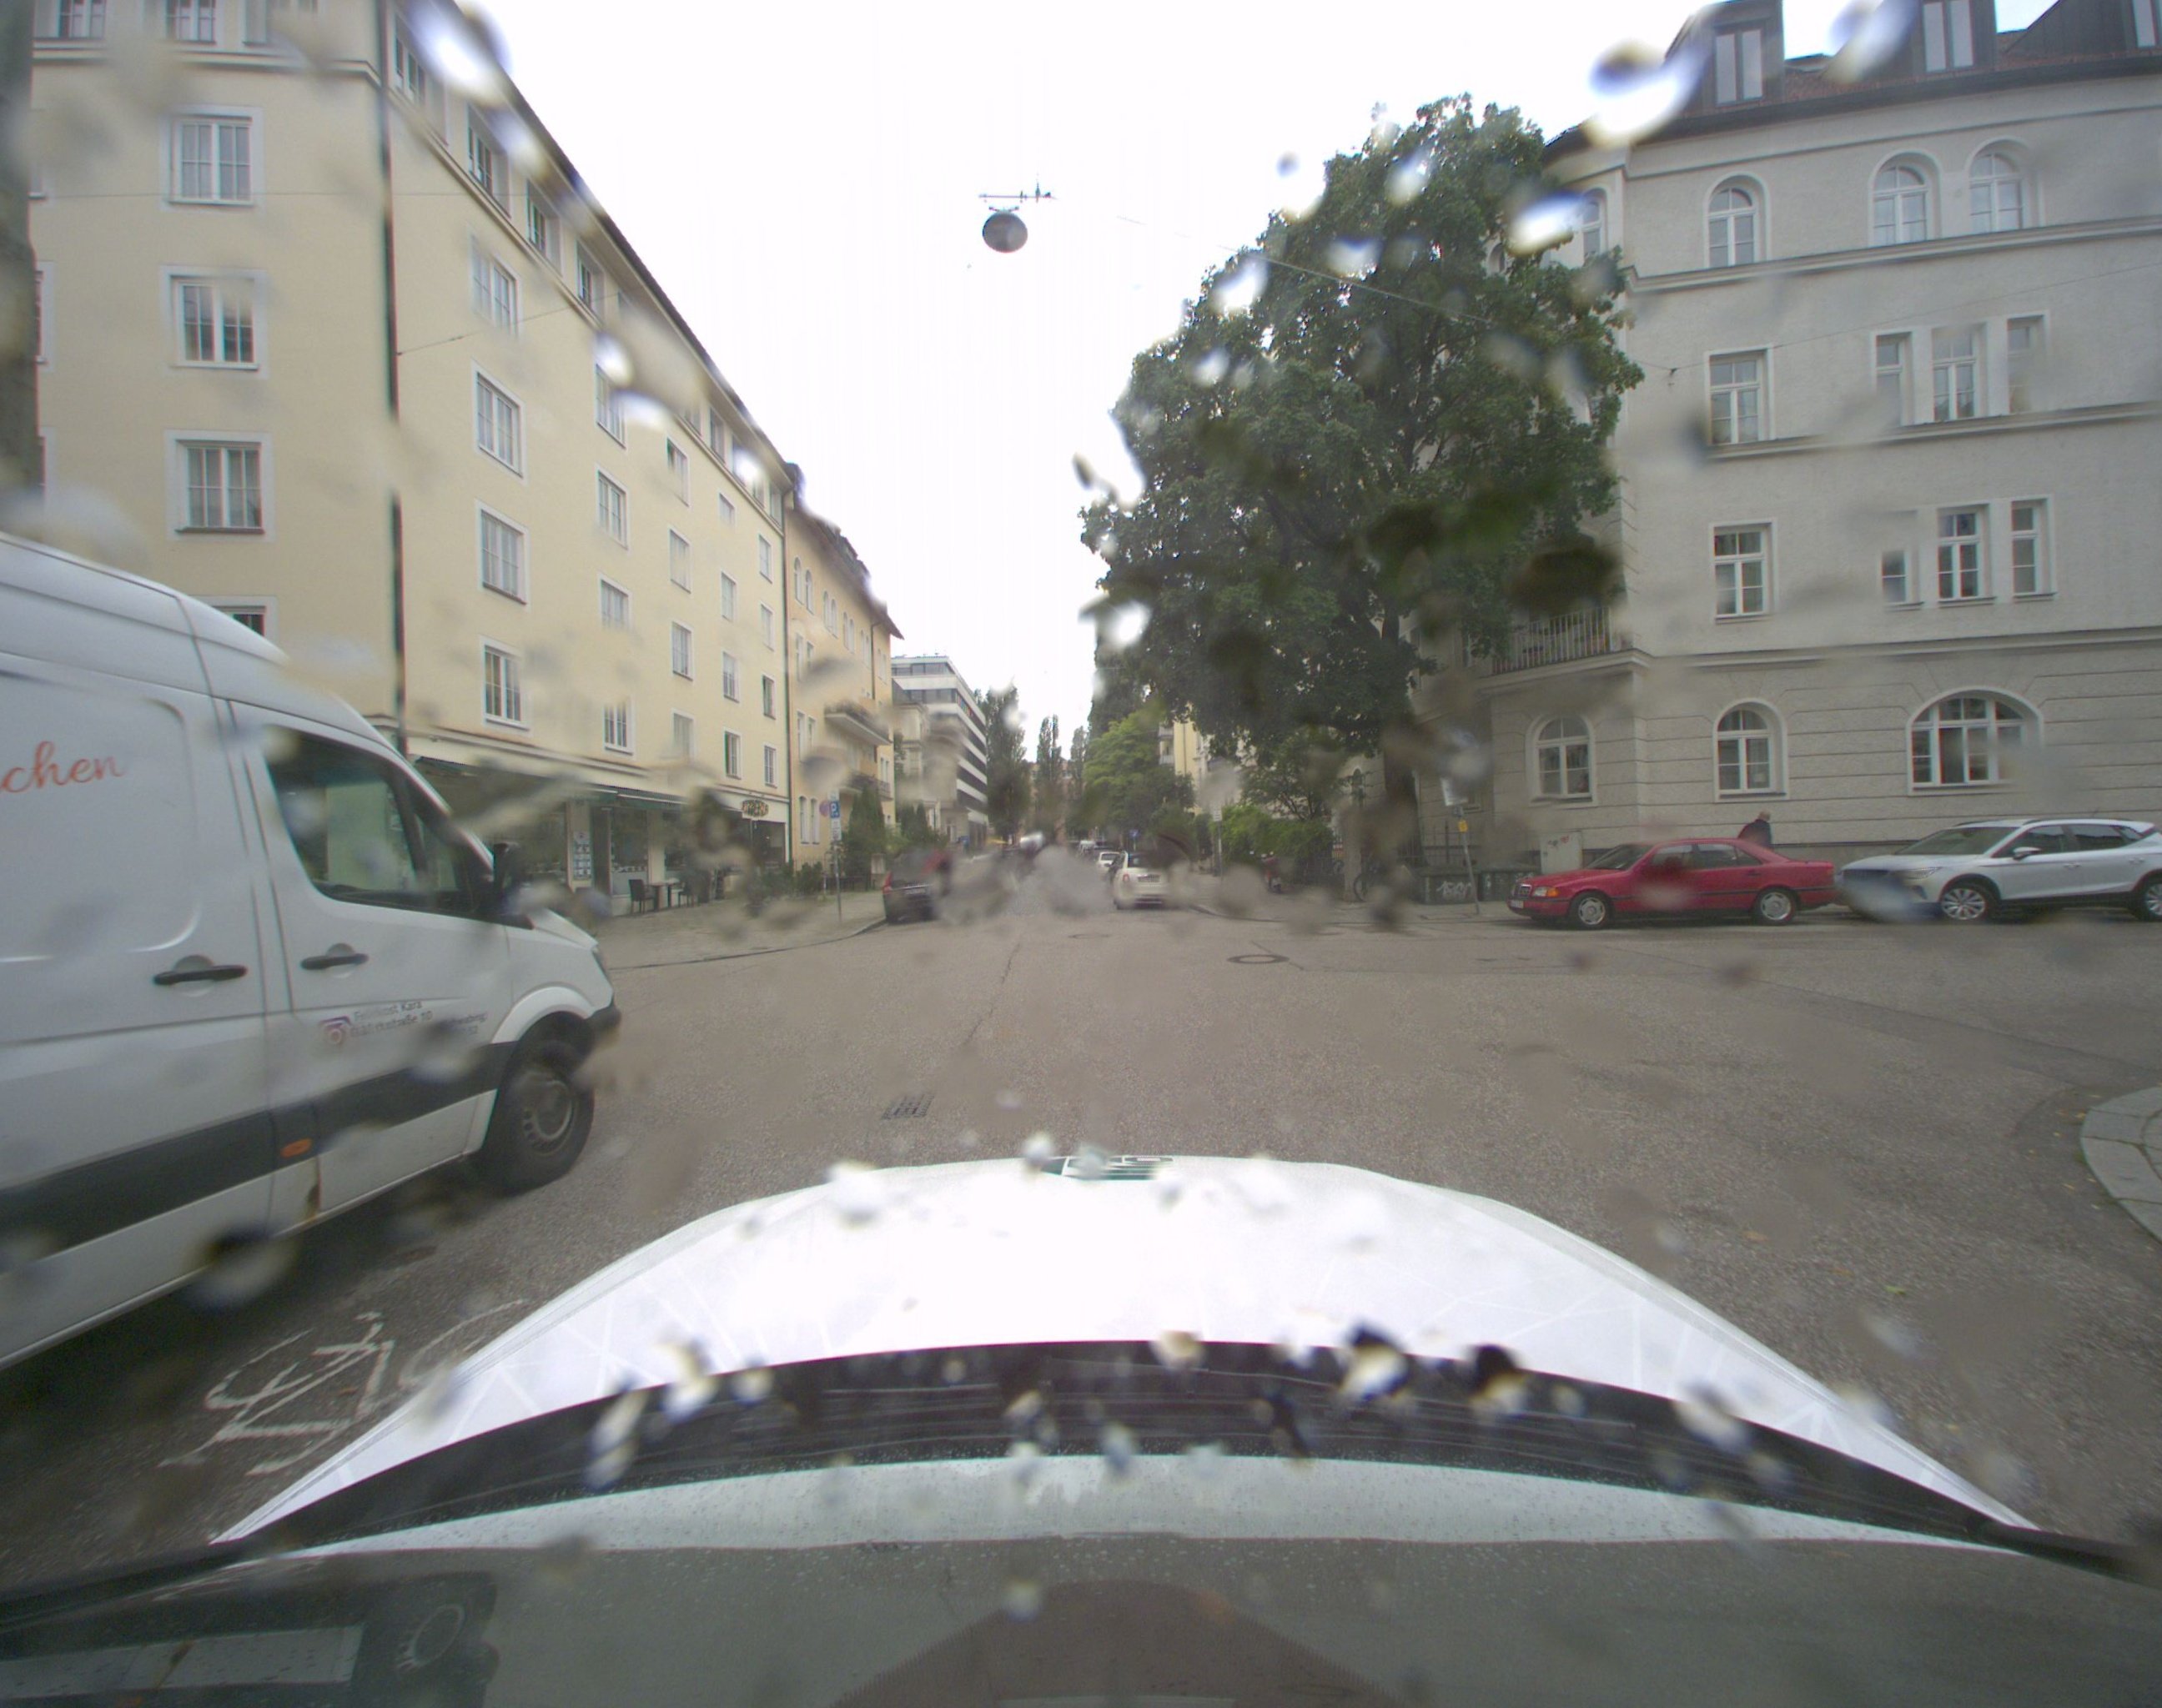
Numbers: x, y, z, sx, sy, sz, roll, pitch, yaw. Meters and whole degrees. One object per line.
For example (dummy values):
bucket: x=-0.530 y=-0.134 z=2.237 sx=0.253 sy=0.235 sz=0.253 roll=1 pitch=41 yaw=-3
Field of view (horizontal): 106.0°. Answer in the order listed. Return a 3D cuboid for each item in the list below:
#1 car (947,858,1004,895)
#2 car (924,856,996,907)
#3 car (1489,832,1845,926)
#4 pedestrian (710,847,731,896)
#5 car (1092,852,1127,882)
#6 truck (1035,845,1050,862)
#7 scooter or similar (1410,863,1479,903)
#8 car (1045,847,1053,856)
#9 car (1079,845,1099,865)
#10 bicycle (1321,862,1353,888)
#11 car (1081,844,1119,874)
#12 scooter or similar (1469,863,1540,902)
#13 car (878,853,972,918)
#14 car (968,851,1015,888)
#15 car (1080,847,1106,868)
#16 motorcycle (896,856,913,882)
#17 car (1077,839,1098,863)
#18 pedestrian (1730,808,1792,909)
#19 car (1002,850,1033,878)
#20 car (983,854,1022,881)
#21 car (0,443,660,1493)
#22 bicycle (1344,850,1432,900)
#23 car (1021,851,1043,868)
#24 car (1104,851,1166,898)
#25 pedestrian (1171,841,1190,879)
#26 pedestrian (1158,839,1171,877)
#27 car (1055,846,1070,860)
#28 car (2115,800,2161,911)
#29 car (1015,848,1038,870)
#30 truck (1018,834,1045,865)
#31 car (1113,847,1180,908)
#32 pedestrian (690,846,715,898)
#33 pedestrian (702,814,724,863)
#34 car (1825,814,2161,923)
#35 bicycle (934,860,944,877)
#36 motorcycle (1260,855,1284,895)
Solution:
car: x=-4.142 y=0.860 z=32.463 sx=1.768 sy=1.359 sz=4.388 roll=-1 pitch=0 yaw=-1
car: x=-3.978 y=0.856 z=27.369 sx=1.769 sy=1.536 sz=4.538 roll=-2 pitch=0 yaw=-1
car: x=9.357 y=0.391 z=13.330 sx=4.444 sy=1.358 sz=1.763 roll=-1 pitch=0 yaw=6
pedestrian: x=-12.376 y=0.595 z=27.931 sx=0.460 sy=1.690 sz=0.574 roll=-1 pitch=-1 yaw=-1
car: x=1.482 y=0.647 z=42.964 sx=1.625 sy=1.469 sz=3.657 roll=1 pitch=0 yaw=-1
truck: x=-5.378 y=-0.098 z=114.795 sx=1.988 sy=2.346 sz=4.066 roll=-1 pitch=0 yaw=-1
scooter or similar: x=7.978 y=0.631 z=17.913 sx=1.176 sy=0.848 sz=0.926 roll=-1 pitch=0 yaw=8
car: x=-5.535 y=-0.429 z=140.727 sx=1.272 sy=1.541 sz=3.119 roll=-1 pitch=0 yaw=1
car: x=0.801 y=0.114 z=81.677 sx=1.795 sy=1.949 sz=4.856 roll=2 pitch=0 yaw=-2
bicycle: x=8.600 y=0.695 z=27.439 sx=0.489 sy=0.812 sz=2.275 roll=-1 pitch=0 yaw=3
car: x=1.056 y=0.307 z=48.255 sx=1.871 sy=1.673 sz=5.485 roll=-1 pitch=0 yaw=-3
scooter or similar: x=9.238 y=0.614 z=17.801 sx=1.230 sy=0.825 sz=0.698 roll=-1 pitch=0 yaw=8
car: x=-4.155 y=0.792 z=22.426 sx=1.848 sy=1.586 sz=4.743 roll=-1 pitch=0 yaw=-3
car: x=-4.179 y=0.697 z=38.644 sx=1.768 sy=1.647 sz=4.390 roll=-1 pitch=0 yaw=0
car: x=1.006 y=0.295 z=68.642 sx=1.958 sy=1.759 sz=4.950 roll=-1 pitch=0 yaw=-2
motorcycle: x=-8.277 y=0.693 z=38.165 sx=0.489 sy=1.194 sz=1.578 roll=0 pitch=0 yaw=-2
car: x=0.627 y=-0.318 z=87.330 sx=1.890 sy=2.426 sz=5.607 roll=3 pitch=0 yaw=-2
pedestrian: x=12.933 y=0.084 z=15.506 sx=0.493 sy=1.876 sz=0.741 roll=-1 pitch=-1 yaw=-6
car: x=-3.946 y=0.618 z=51.034 sx=1.575 sy=1.590 sz=4.054 roll=-3 pitch=0 yaw=-1
car: x=-4.254 y=0.725 z=44.812 sx=1.768 sy=1.429 sz=4.388 roll=-1 pitch=0 yaw=-1
car: x=-3.642 y=0.299 z=2.048 sx=1.970 sy=2.574 sz=5.794 roll=-3 pitch=0 yaw=1
bicycle: x=7.070 y=0.488 z=18.828 sx=1.827 sy=1.124 sz=0.564 roll=-1 pitch=-1 yaw=8
car: x=-4.474 y=0.485 z=74.610 sx=1.935 sy=1.459 sz=4.054 roll=-1 pitch=0 yaw=-2
car: x=1.809 y=0.673 z=28.469 sx=1.644 sy=1.422 sz=4.628 roll=2 pitch=0 yaw=-2
pedestrian: x=4.838 y=0.298 z=39.722 sx=0.632 sy=1.808 sz=0.653 roll=0 pitch=-1 yaw=-32
pedestrian: x=4.072 y=0.209 z=39.710 sx=0.573 sy=1.850 sz=0.683 roll=-1 pitch=-1 yaw=6
car: x=-2.762 y=-0.147 z=121.442 sx=1.990 sy=1.936 sz=4.000 roll=-1 pitch=0 yaw=0
car: x=18.729 y=-0.084 z=11.932 sx=4.301 sy=1.712 sz=1.757 roll=-3 pitch=-2 yaw=10
car: x=-4.608 y=0.421 z=69.240 sx=1.769 sy=1.717 sz=4.387 roll=-1 pitch=0 yaw=-2
truck: x=-5.167 y=-0.453 z=86.219 sx=2.502 sy=3.031 sz=6.379 roll=-3 pitch=1 yaw=-2
car: x=1.724 y=0.604 z=22.462 sx=1.497 sy=1.471 sz=3.795 roll=-2 pitch=0 yaw=0
pedestrian: x=-12.294 y=0.583 z=26.432 sx=0.520 sy=1.642 sz=0.629 roll=-1 pitch=-1 yaw=-2
pedestrian: x=-12.317 y=-0.518 z=27.278 sx=0.475 sy=1.642 sz=0.497 roll=-1 pitch=-1 yaw=3
car: x=14.075 y=0.212 z=12.443 sx=3.868 sy=1.521 sz=1.567 roll=-1 pitch=0 yaw=4
bicycle: x=-8.711 y=0.886 z=50.037 sx=0.351 sy=1.003 sz=1.572 roll=-1 pitch=0 yaw=0
motorcycle: x=5.437 y=0.585 z=23.202 sx=0.361 sy=1.090 sz=1.404 roll=-1 pitch=0 yaw=1
